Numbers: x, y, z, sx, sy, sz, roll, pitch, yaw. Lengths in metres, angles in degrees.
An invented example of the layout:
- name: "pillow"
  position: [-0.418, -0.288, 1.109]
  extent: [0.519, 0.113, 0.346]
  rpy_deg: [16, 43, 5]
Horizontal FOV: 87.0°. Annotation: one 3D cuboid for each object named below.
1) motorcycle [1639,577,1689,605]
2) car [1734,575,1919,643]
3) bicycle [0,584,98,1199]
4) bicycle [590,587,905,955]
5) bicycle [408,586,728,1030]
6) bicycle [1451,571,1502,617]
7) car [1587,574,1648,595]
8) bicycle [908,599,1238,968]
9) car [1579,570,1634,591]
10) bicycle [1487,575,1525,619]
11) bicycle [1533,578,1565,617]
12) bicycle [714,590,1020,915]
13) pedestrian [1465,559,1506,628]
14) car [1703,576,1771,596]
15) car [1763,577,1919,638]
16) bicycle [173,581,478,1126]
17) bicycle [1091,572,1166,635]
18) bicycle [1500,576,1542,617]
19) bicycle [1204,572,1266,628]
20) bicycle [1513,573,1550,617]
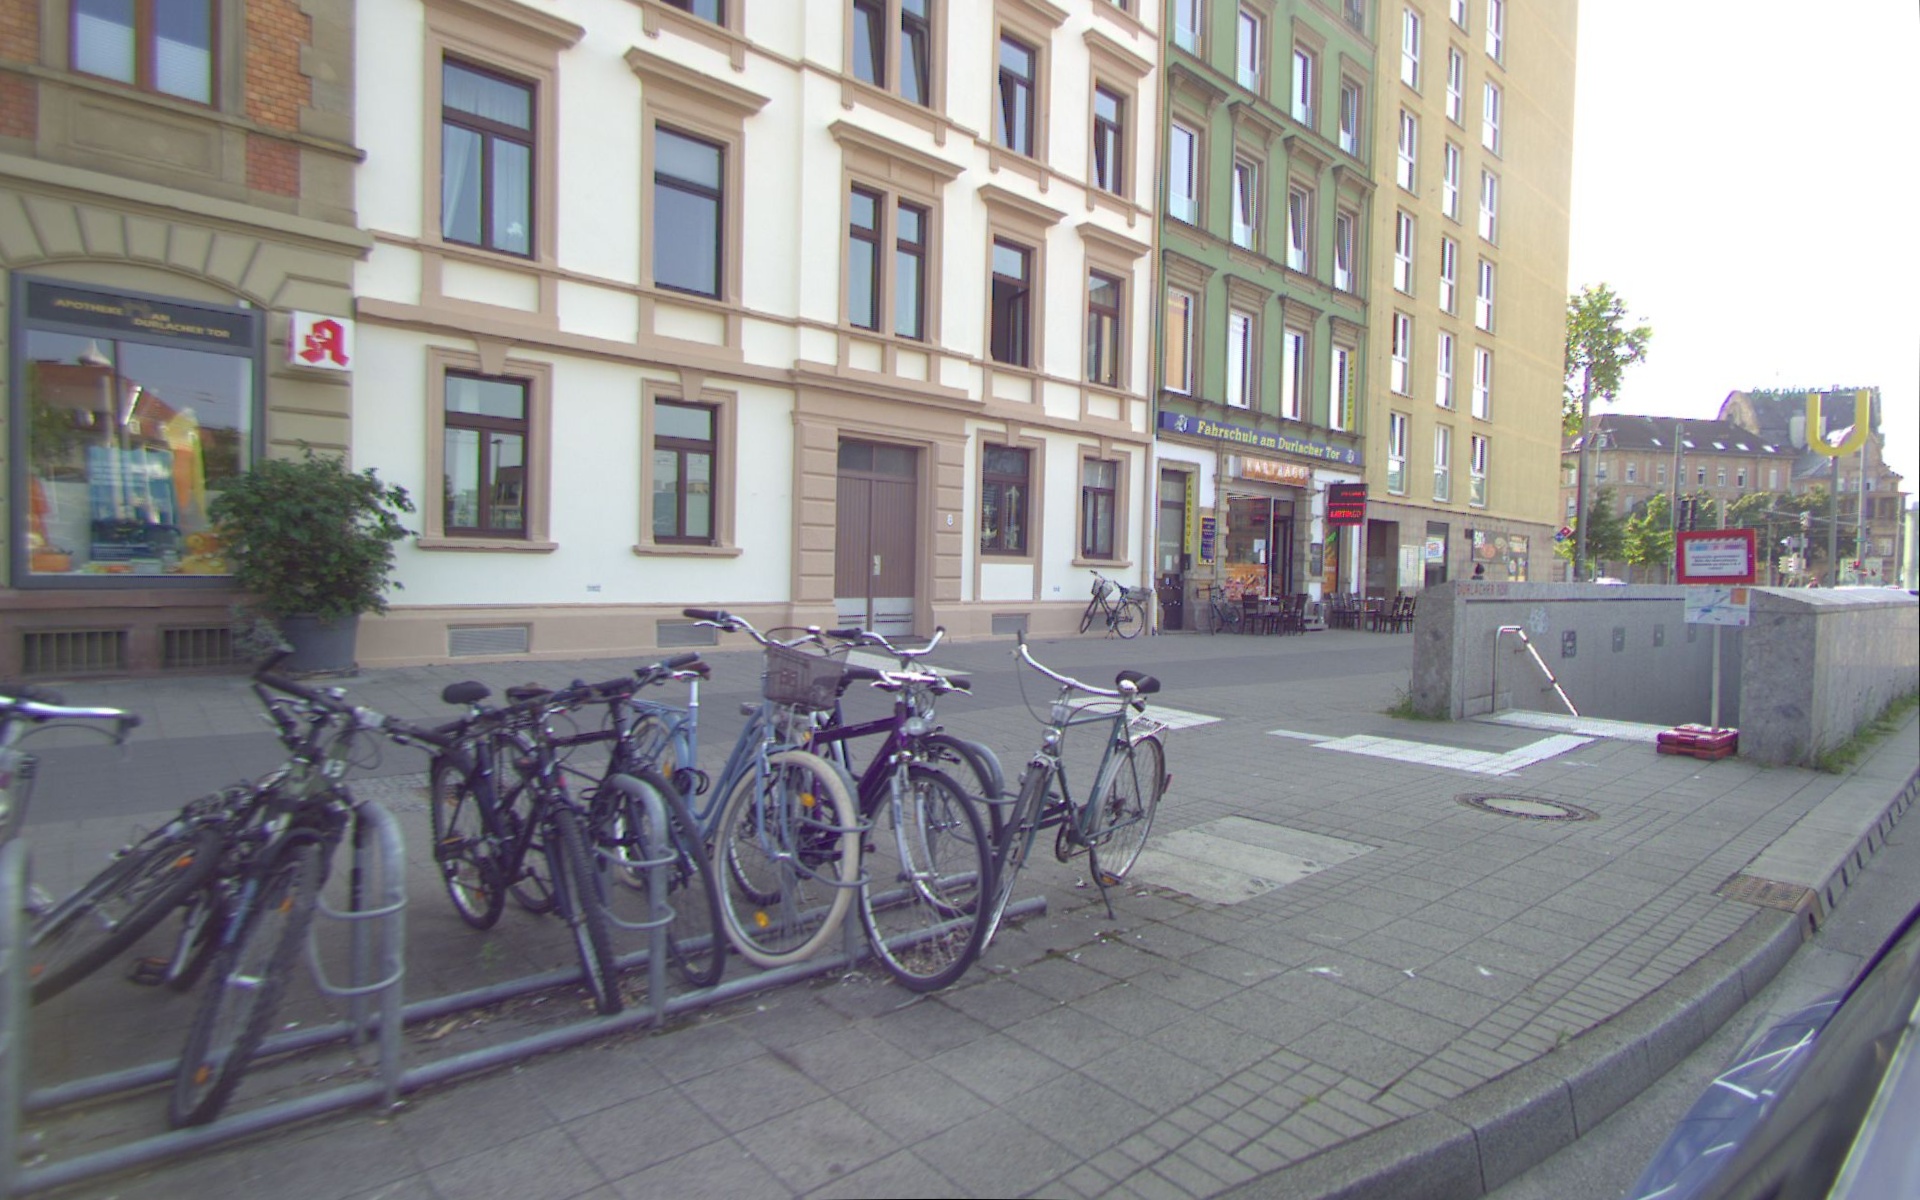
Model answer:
- name: "motorcycle"
  position: [30.435, -0.394, 43.753]
  extent: [2.254, 1.161, 0.707]
  rpy_deg: [0, 2, -26]
- name: "car"
  position: [20.608, 0.184, 23.763]
  extent: [3.468, 1.482, 1.620]
  rpy_deg: [1, 2, 7]
- name: "bicycle"
  position: [-2.403, 0.569, 2.417]
  extent: [1.633, 1.162, 0.379]
  rpy_deg: [3, 3, 44]
- name: "bicycle"
  position: [-0.922, 0.559, 4.053]
  extent: [1.633, 1.162, 0.379]
  rpy_deg: [3, 3, 44]
- name: "bicycle"
  position: [-1.419, 0.564, 3.481]
  extent: [1.633, 1.162, 0.379]
  rpy_deg: [3, 3, 44]
- name: "bicycle"
  position: [14.868, -0.173, 29.123]
  extent: [1.963, 1.276, 0.603]
  rpy_deg: [0, 2, -42]
- name: "car"
  position: [49.502, -1.193, 76.264]
  extent: [1.766, 1.459, 3.639]
  rpy_deg: [1, 2, -10]
- name: "bicycle"
  position: [0.523, 0.598, 4.028]
  extent: [0.407, 1.162, 1.631]
  rpy_deg: [3, 3, 42]
- name: "car"
  position: [62.254, -1.903, 97.524]
  extent: [1.757, 1.909, 4.300]
  rpy_deg: [3, 1, -14]
- name: "bicycle"
  position: [16.699, -0.109, 30.924]
  extent: [0.602, 1.276, 1.969]
  rpy_deg: [3, 2, 40]
- name: "bicycle"
  position: [20.116, -0.103, 34.559]
  extent: [1.609, 1.276, 0.469]
  rpy_deg: [0, 2, -43]
- name: "bicycle"
  position: [-0.482, 0.569, 4.514]
  extent: [1.633, 1.162, 0.379]
  rpy_deg: [3, 3, 44]
- name: "pedestrian"
  position: [12.749, -0.171, 24.559]
  extent: [0.724, 1.649, 0.610]
  rpy_deg: [0, 2, -41]
- name: "car"
  position: [65.279, -1.218, 85.121]
  extent: [1.638, 1.483, 4.300]
  rpy_deg: [3, 1, -17]
- name: "car"
  position: [23.730, 0.177, 26.104]
  extent: [4.334, 1.441, 1.845]
  rpy_deg: [1, 2, 7]
- name: "bicycle"
  position: [-1.914, 0.552, 2.947]
  extent: [1.633, 1.162, 0.379]
  rpy_deg: [3, 3, 44]
- name: "bicycle"
  position: [3.181, 0.053, 19.035]
  extent: [1.690, 1.148, 0.384]
  rpy_deg: [-1, 2, -42]
- name: "bicycle"
  position: [18.036, -0.128, 32.497]
  extent: [1.818, 1.276, 0.603]
  rpy_deg: [0, 2, -43]
- name: "bicycle"
  position: [5.918, -0.012, 21.720]
  extent: [1.690, 1.148, 0.384]
  rpy_deg: [-1, 2, -42]
- name: "bicycle"
  position: [17.263, -0.170, 30.556]
  extent: [0.602, 1.276, 1.969]
  rpy_deg: [3, 2, 40]
